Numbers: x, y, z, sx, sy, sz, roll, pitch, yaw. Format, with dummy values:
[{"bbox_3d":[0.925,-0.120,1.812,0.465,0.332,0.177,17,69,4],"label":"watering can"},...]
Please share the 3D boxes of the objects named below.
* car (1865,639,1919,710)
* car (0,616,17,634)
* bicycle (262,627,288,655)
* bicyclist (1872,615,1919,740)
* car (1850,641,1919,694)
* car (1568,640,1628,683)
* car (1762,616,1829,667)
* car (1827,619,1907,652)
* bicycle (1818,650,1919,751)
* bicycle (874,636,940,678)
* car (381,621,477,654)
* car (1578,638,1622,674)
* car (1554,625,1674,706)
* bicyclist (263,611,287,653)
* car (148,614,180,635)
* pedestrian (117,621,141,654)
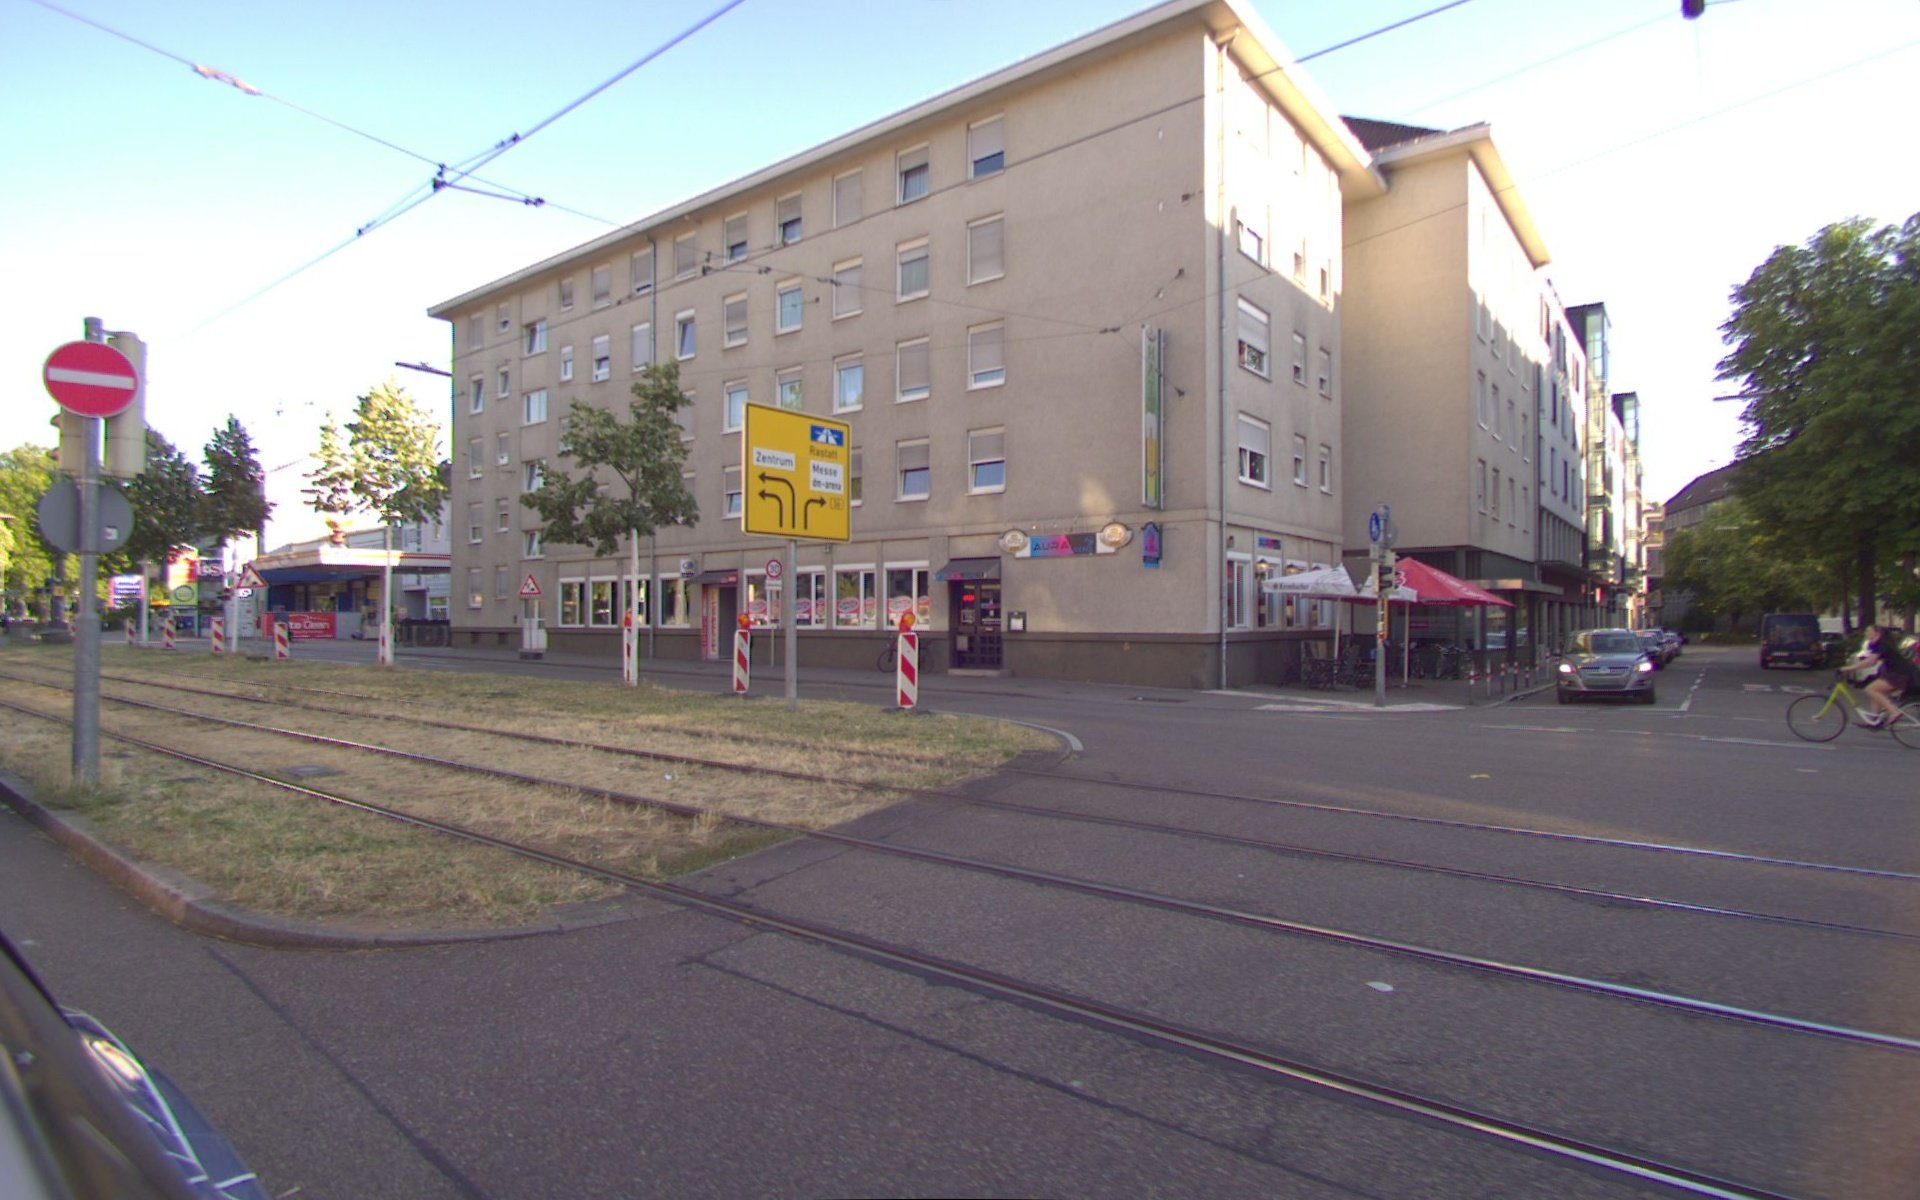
[{"bbox_3d":[21.497,1.568,21.910,1.992,1.453,3.959,-3,-4,30],"label":"car"},{"bbox_3d":[-93.897,2.452,99.265,1.970,1.747,4.397,-1,1,-44],"label":"car"},{"bbox_3d":[-31.434,1.868,46.426,1.867,1.267,0.451,-2,-2,38],"label":"bicycle"},{"bbox_3d":[12.573,1.005,13.292,0.808,1.598,0.620,-2,-2,40],"label":"bicyclist"},{"bbox_3d":[25.899,1.825,27.923,1.770,1.273,3.267,0,-1,37],"label":"car"},{"bbox_3d":[22.753,2.160,36.049,1.502,1.321,3.093,0,0,38],"label":"car"},{"bbox_3d":[35.134,1.690,42.648,1.997,2.029,3.950,0,-1,37],"label":"car"},{"bbox_3d":[53.351,2.044,59.581,3.487,1.809,1.679,0,0,42],"label":"car"},{"bbox_3d":[12.519,1.322,13.309,1.870,1.267,0.450,0,-1,42],"label":"bicycle"},{"bbox_3d":[-1.420,1.505,26.933,1.842,1.031,0.602,0,0,39],"label":"bicycle"},{"bbox_3d":[-25.875,1.832,49.380,1.905,1.481,3.683,-3,-3,37],"label":"car"},{"bbox_3d":[27.195,2.341,42.951,1.428,1.286,3.315,0,0,35],"label":"car"},{"bbox_3d":[14.661,1.424,22.908,1.992,1.636,4.155,-3,-2,30],"label":"car"},{"bbox_3d":[-31.423,1.455,46.416,0.808,1.897,0.645,-1,-3,38],"label":"bicyclist"},{"bbox_3d":[-66.485,2.021,84.500,1.757,1.567,4.005,0,1,-43],"label":"car"},{"bbox_3d":[-33.024,1.503,40.217,0.580,1.280,0.655,-2,-1,39],"label":"pedestrian"}]
